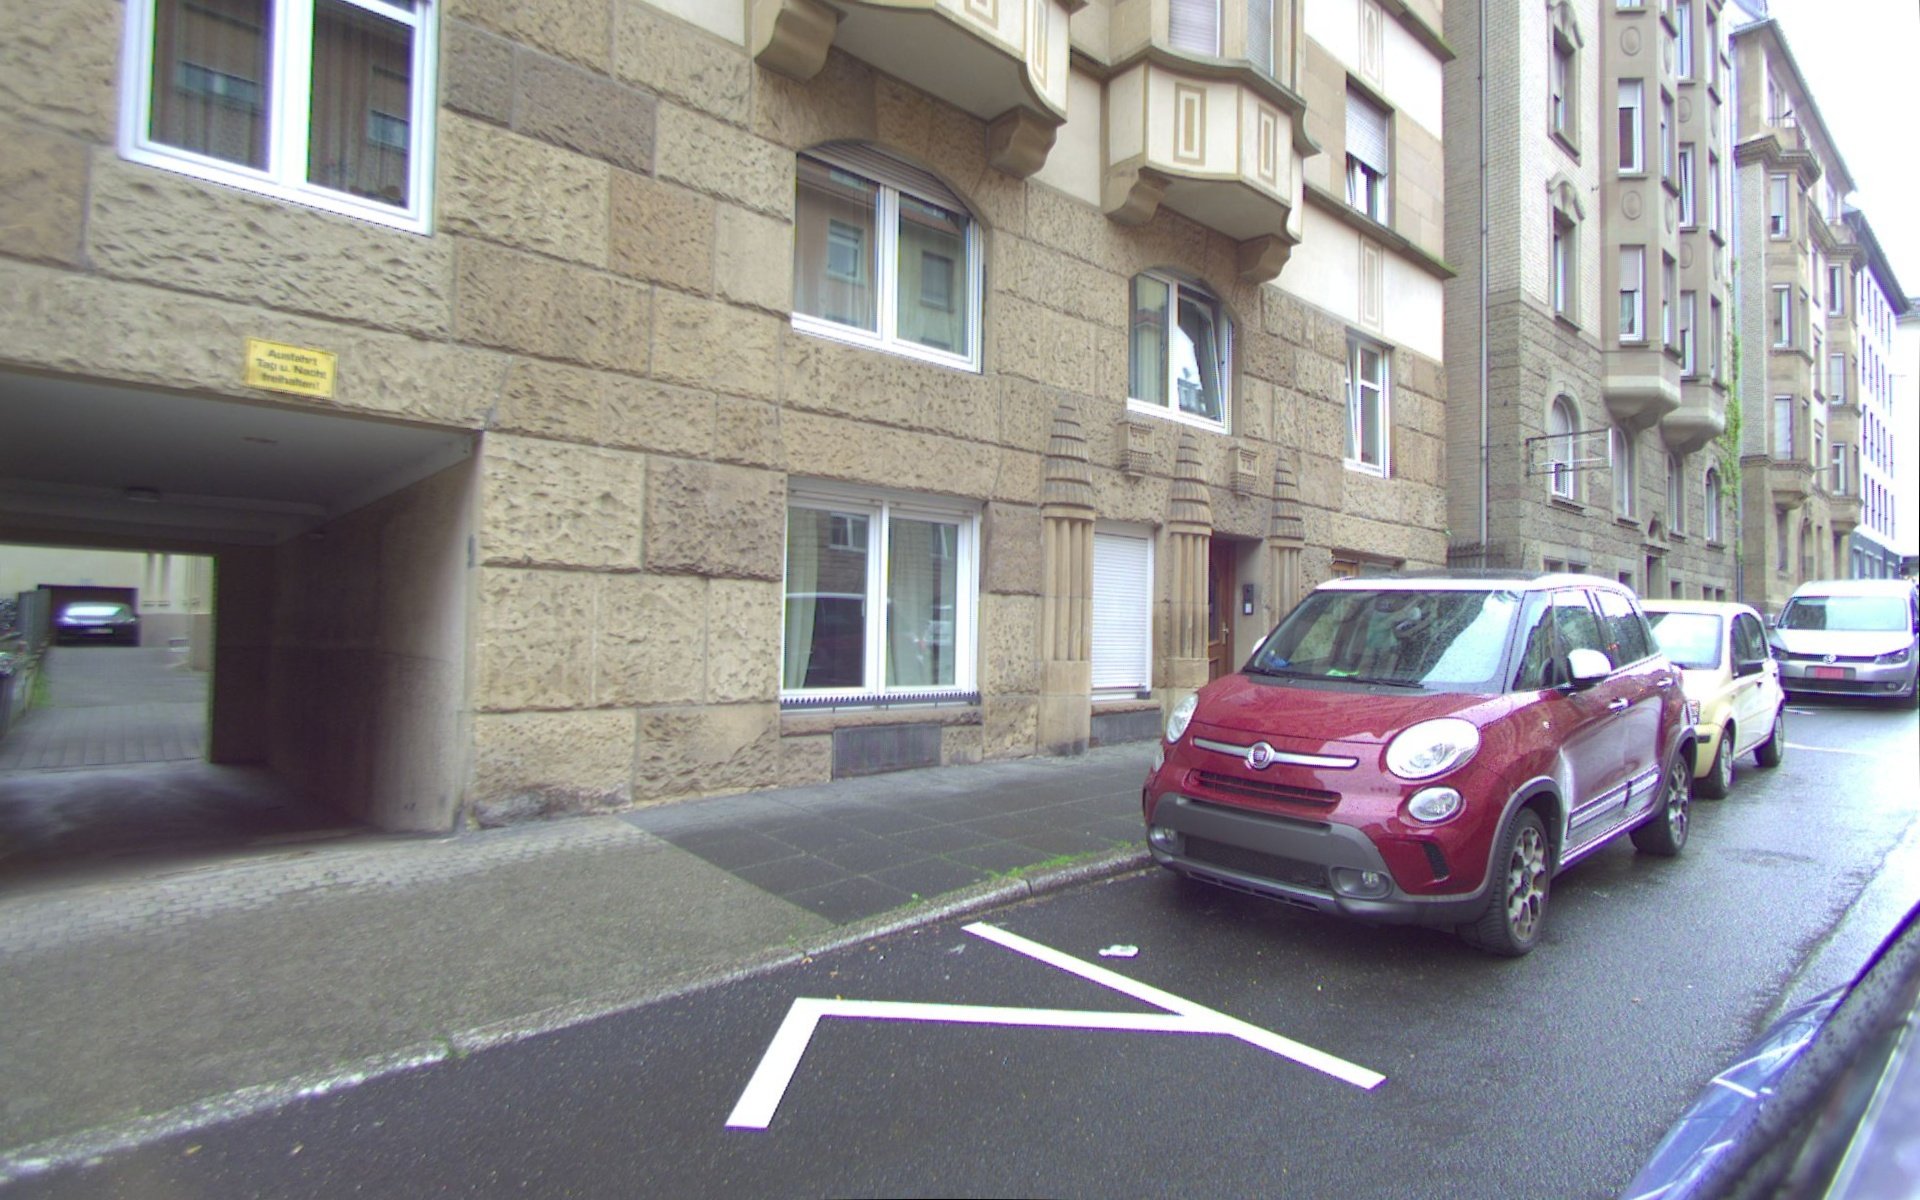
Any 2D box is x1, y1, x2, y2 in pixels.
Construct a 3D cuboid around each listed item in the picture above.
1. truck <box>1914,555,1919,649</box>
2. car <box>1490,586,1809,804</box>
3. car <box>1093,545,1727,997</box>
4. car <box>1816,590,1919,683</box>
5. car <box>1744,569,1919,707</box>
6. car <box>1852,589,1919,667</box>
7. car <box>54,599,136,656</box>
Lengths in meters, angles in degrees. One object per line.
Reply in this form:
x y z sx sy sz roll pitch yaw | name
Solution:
29.192 0.033 28.886 6.036 2.568 2.233 0 -1 -41 | truck
6.229 0.682 8.999 3.517 1.549 1.578 0 -1 -43 | car
2.708 0.617 5.638 3.932 1.619 1.804 0 -1 -42 | car
17.200 0.608 18.508 3.934 1.549 1.994 0 -1 -45 | car
13.792 0.508 15.517 4.380 1.825 1.966 0 -1 -41 | car
20.506 0.556 21.447 3.860 1.549 1.889 0 -1 -41 | car
-25.156 0.771 29.464 1.692 1.541 4.098 0 -1 -41 | car
